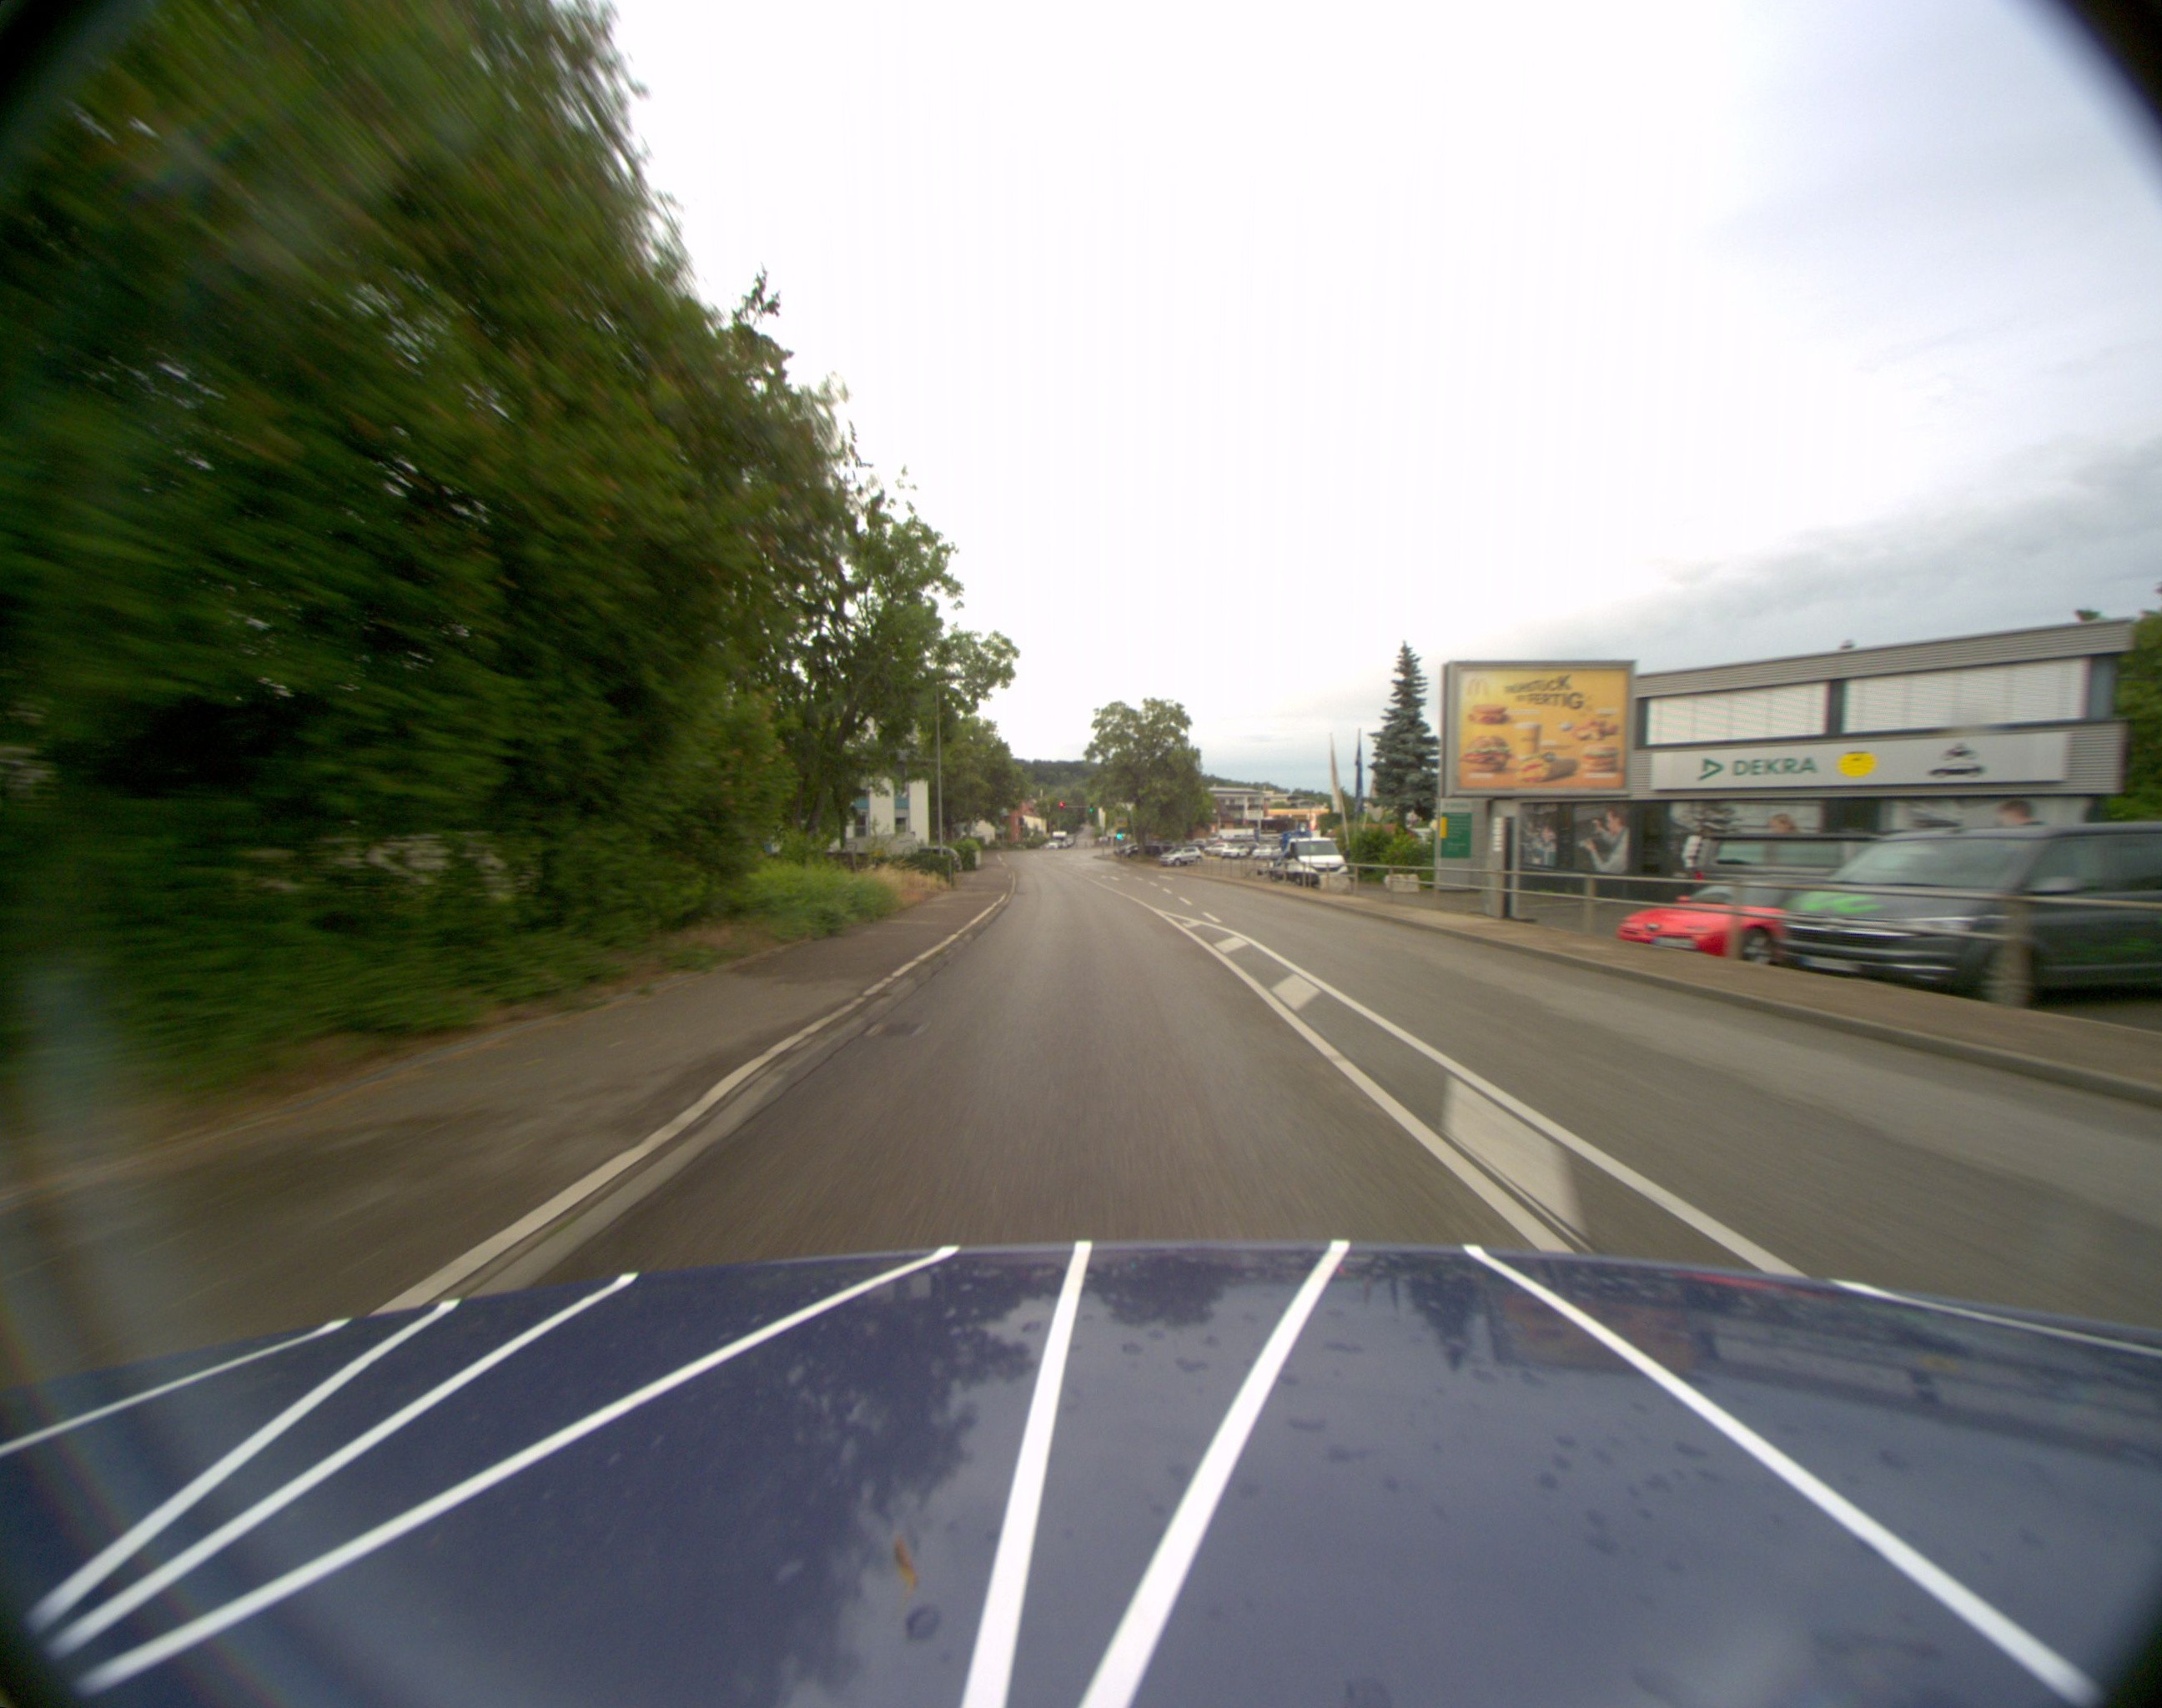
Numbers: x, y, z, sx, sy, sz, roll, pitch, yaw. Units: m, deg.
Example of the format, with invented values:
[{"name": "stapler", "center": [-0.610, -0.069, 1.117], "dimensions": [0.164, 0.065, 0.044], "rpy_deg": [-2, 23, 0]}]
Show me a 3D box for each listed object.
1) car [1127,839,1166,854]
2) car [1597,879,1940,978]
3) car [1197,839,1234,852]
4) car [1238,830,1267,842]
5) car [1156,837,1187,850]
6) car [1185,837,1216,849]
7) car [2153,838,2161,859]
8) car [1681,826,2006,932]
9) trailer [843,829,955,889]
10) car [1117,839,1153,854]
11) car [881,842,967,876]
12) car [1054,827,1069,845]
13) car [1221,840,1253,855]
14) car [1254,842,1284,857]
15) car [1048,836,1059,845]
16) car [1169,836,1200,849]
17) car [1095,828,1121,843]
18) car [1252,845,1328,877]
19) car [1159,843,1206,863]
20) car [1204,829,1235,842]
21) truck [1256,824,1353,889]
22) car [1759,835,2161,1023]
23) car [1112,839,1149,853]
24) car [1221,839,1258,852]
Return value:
[{"name": "car", "center": [6.912, -0.826, 80.337], "dimensions": [3.895, 1.559, 1.671], "rpy_deg": [0, 2, -4]}, {"name": "car", "center": [10.505, 1.073, 11.742], "dimensions": [4.106, 1.260, 1.768], "rpy_deg": [0, 1, -10]}, {"name": "car", "center": [15.674, -0.996, 88.485], "dimensions": [1.794, 1.444, 4.031], "rpy_deg": [-2, 3, -39]}, {"name": "car", "center": [28.950, -3.014, 128.319], "dimensions": [4.931, 1.853, 2.047], "rpy_deg": [-1, 2, -38]}, {"name": "car", "center": [11.467, -1.347, 96.300], "dimensions": [3.763, 1.542, 1.596], "rpy_deg": [2, 3, 42]}, {"name": "car", "center": [15.814, -1.480, 100.540], "dimensions": [3.763, 1.542, 1.596], "rpy_deg": [2, 3, 42]}, {"name": "car", "center": [59.794, -0.298, 41.230], "dimensions": [1.377, 1.181, 3.069], "rpy_deg": [1, 1, 45]}, {"name": "car", "center": [16.478, 0.427, 16.697], "dimensions": [2.004, 1.976, 4.863], "rpy_deg": [-2, 2, -40]}, {"name": "trailer", "center": [-7.890, 0.185, 33.187], "dimensions": [4.551, 2.387, 1.946], "rpy_deg": [-2, 2, -12]}, {"name": "car", "center": [5.847, -0.843, 83.021], "dimensions": [3.767, 1.559, 1.671], "rpy_deg": [0, 2, -1]}, {"name": "car", "center": [-8.289, 0.248, 40.475], "dimensions": [4.225, 1.740, 1.983], "rpy_deg": [-1, 1, -4]}, {"name": "car", "center": [-3.494, -3.280, 138.212], "dimensions": [2.574, 2.759, 6.123], "rpy_deg": [1, 5, 0]}, {"name": "car", "center": [16.564, -0.719, 80.532], "dimensions": [1.785, 1.501, 4.051], "rpy_deg": [2, 3, 34]}, {"name": "car", "center": [19.433, -0.486, 78.503], "dimensions": [1.824, 1.407, 4.017], "rpy_deg": [1, 2, 31]}, {"name": "car", "center": [-4.423, -2.169, 122.767], "dimensions": [1.770, 1.460, 3.997], "rpy_deg": [0, 2, -3]}, {"name": "car", "center": [13.411, -1.490, 98.273], "dimensions": [3.763, 1.542, 1.596], "rpy_deg": [2, 3, 42]}, {"name": "car", "center": [4.351, -3.006, 123.130], "dimensions": [1.774, 2.094, 4.370], "rpy_deg": [-3, 6, -37]}, {"name": "car", "center": [13.158, 0.392, 48.049], "dimensions": [2.068, 1.860, 4.270], "rpy_deg": [-1, 2, -33]}, {"name": "car", "center": [8.943, -0.145, 66.786], "dimensions": [4.015, 1.561, 1.716], "rpy_deg": [-3, 3, -36]}, {"name": "car", "center": [22.669, -3.014, 124.129], "dimensions": [5.265, 2.075, 2.047], "rpy_deg": [-1, 2, -38]}, {"name": "truck", "center": [9.955, 0.042, 34.675], "dimensions": [1.999, 2.618, 7.890], "rpy_deg": [0, 1, -1]}, {"name": "car", "center": [10.929, 0.725, 8.651], "dimensions": [5.083, 1.860, 1.821], "rpy_deg": [0, 1, -6]}, {"name": "car", "center": [5.739, -0.955, 87.441], "dimensions": [4.154, 1.502, 1.672], "rpy_deg": [0, 3, 9]}, {"name": "car", "center": [18.523, -1.025, 89.036], "dimensions": [1.794, 1.444, 4.031], "rpy_deg": [-2, 3, -39]}]
